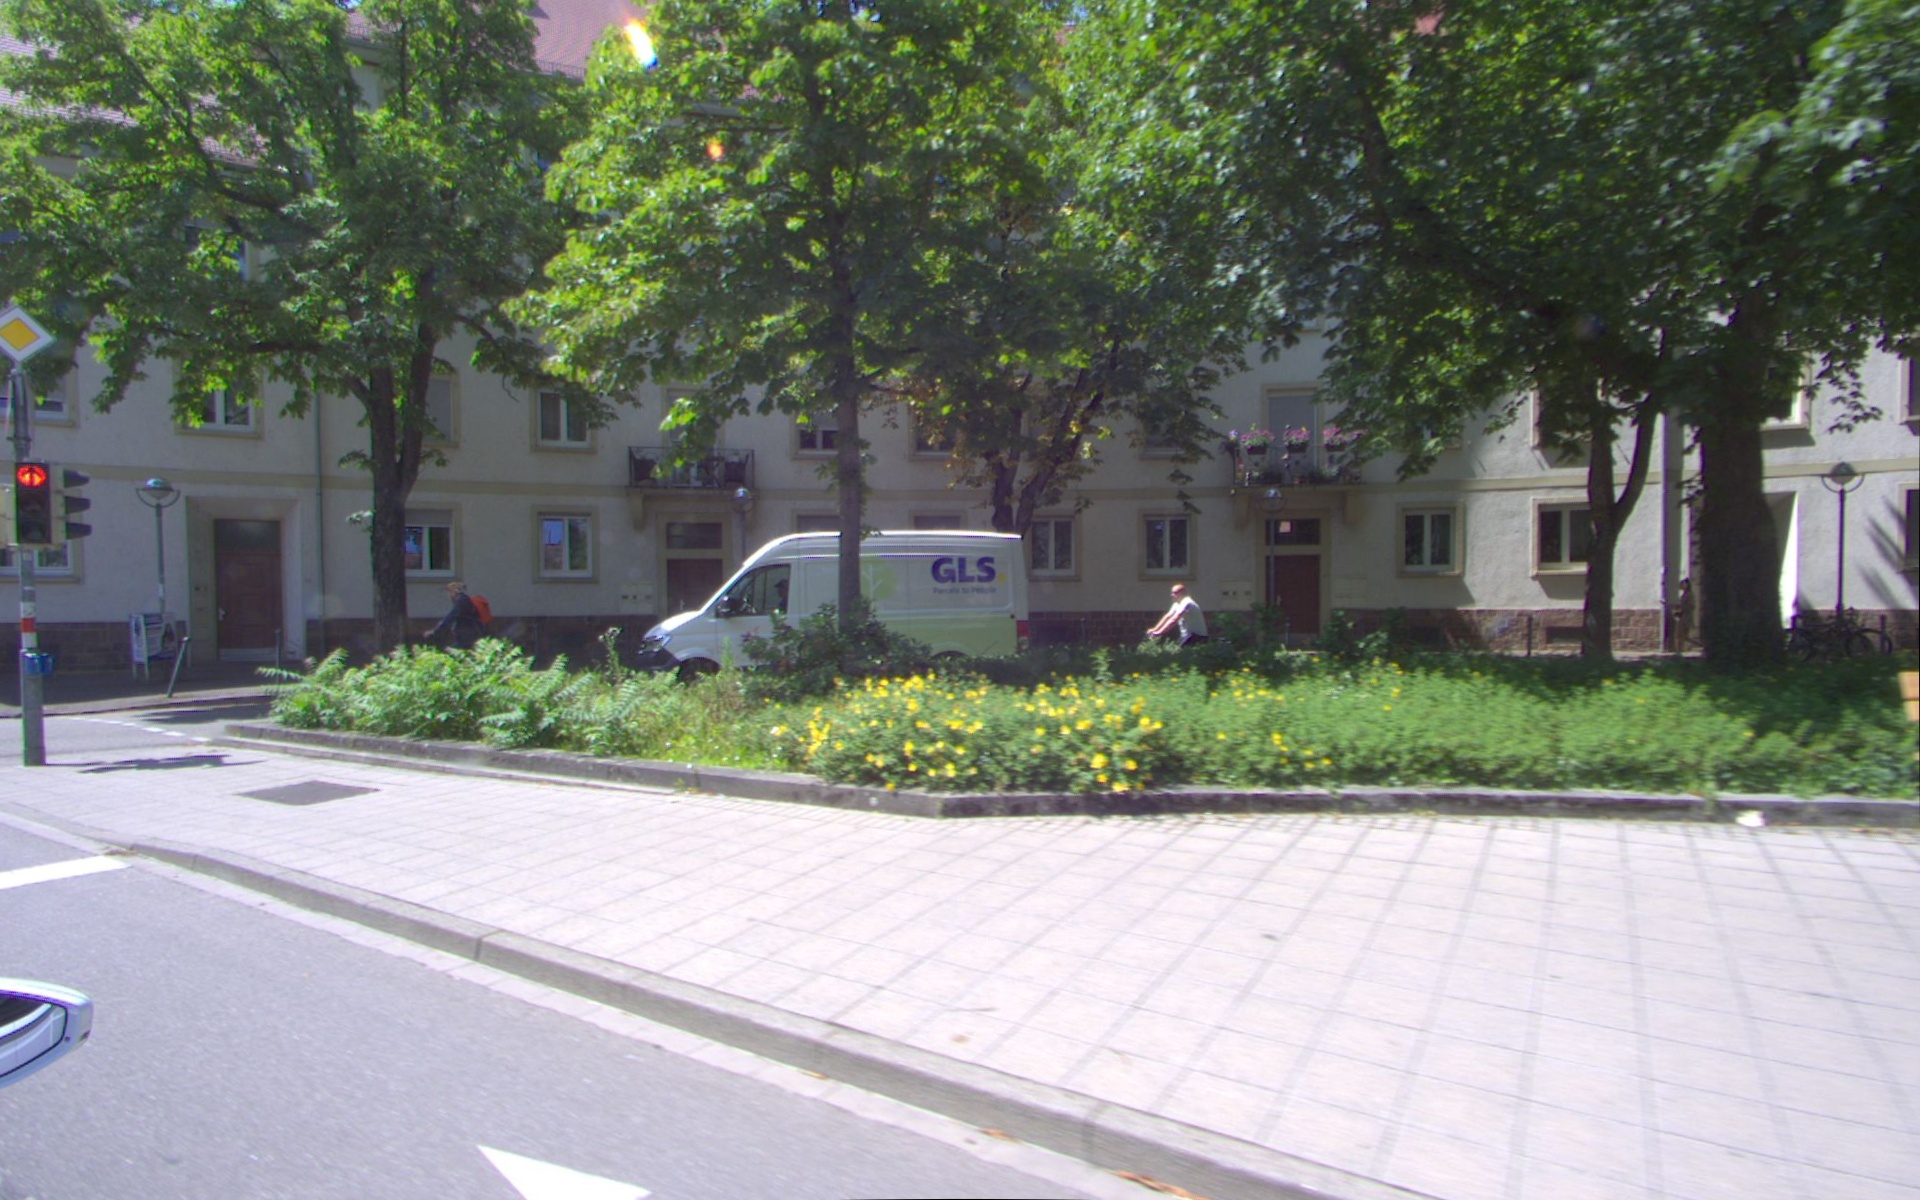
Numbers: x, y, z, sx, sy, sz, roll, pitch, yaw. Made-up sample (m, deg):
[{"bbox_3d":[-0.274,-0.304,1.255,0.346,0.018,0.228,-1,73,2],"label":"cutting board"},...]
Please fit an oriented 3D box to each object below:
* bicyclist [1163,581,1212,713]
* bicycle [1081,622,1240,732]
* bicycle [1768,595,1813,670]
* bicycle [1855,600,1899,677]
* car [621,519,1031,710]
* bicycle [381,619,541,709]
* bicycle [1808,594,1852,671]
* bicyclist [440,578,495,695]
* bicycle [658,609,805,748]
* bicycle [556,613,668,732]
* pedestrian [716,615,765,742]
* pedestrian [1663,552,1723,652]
[{"bbox_3d":[3.225,0.655,14.208,0.524,1.823,0.604,0,0,-3],"label":"bicyclist"},{"bbox_3d":[2.826,1.074,14.175,2.126,1.505,0.593,0,0,-5],"label":"bicycle"},{"bbox_3d":[15.990,0.603,19.264,0.510,1.362,2.308,0,-1,44],"label":"bicycle"},{"bbox_3d":[16.662,0.673,18.177,0.541,1.317,2.139,0,-1,44],"label":"bicycle"},{"bbox_3d":[-1.942,0.214,15.148,5.738,2.624,1.999,0,0,-7],"label":"car"},{"bbox_3d":[-7.244,0.905,14.629,2.054,1.252,0.578,0,0,-25],"label":"bicycle"},{"bbox_3d":[16.358,0.600,18.807,0.510,1.365,2.223,0,-1,44],"label":"bicycle"},{"bbox_3d":[-7.196,0.526,14.658,0.684,1.667,0.578,0,0,-24],"label":"bicyclist"},{"bbox_3d":[-2.434,0.791,10.553,1.809,1.377,0.351,-1,0,33],"label":"bicycle"},{"bbox_3d":[-3.494,0.716,10.023,1.269,1.141,0.332,-2,-1,32],"label":"bicycle"},{"bbox_3d":[-2.298,0.808,10.474,0.345,1.301,0.365,0,0,32],"label":"pedestrian"},{"bbox_3d":[15.253,0.051,20.857,0.759,2.040,0.807,0,0,14],"label":"pedestrian"}]
